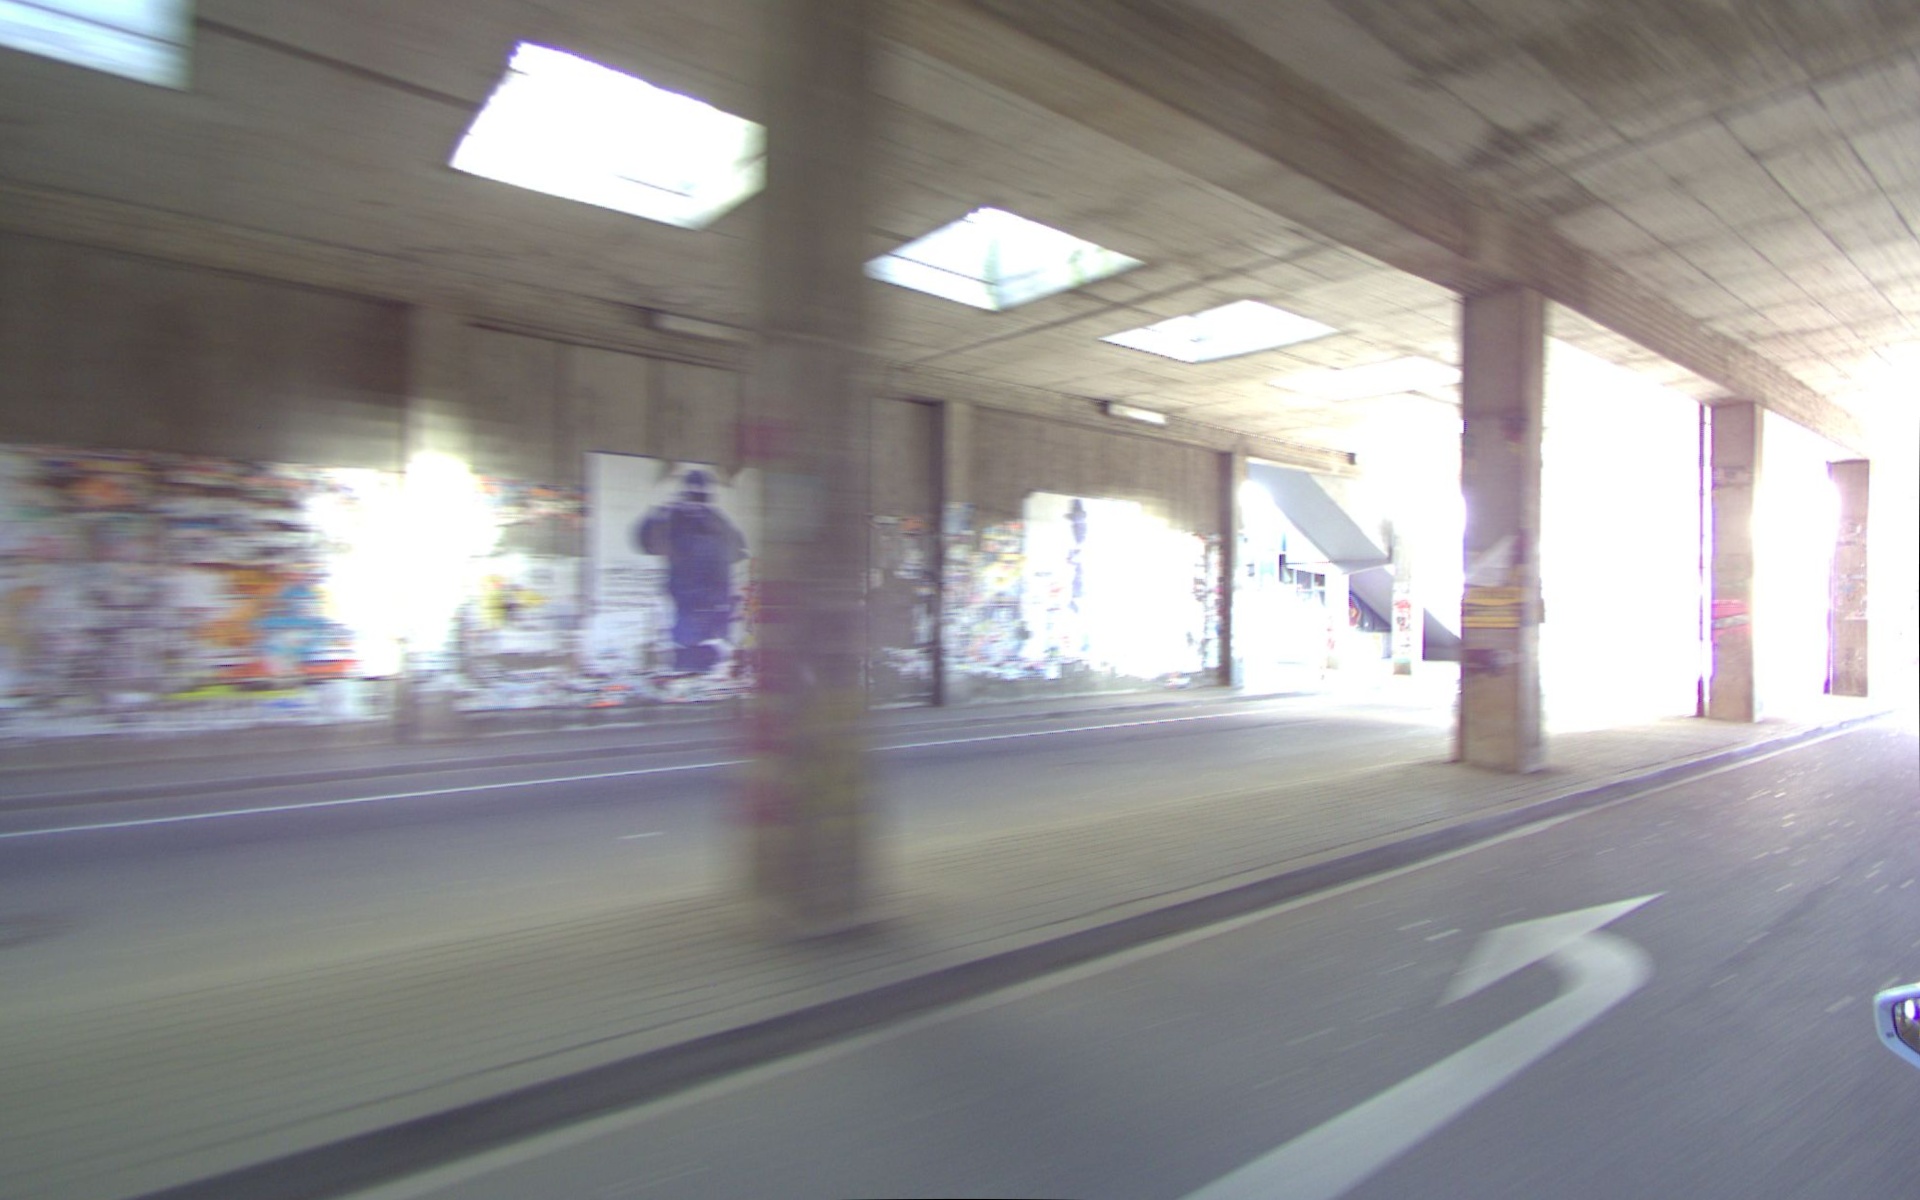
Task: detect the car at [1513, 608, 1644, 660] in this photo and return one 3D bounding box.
[{"bbox_3d":[26.660,1.415,43.405,1.982,2.041,4.445,-2,1,-38],"label":"car"}]
